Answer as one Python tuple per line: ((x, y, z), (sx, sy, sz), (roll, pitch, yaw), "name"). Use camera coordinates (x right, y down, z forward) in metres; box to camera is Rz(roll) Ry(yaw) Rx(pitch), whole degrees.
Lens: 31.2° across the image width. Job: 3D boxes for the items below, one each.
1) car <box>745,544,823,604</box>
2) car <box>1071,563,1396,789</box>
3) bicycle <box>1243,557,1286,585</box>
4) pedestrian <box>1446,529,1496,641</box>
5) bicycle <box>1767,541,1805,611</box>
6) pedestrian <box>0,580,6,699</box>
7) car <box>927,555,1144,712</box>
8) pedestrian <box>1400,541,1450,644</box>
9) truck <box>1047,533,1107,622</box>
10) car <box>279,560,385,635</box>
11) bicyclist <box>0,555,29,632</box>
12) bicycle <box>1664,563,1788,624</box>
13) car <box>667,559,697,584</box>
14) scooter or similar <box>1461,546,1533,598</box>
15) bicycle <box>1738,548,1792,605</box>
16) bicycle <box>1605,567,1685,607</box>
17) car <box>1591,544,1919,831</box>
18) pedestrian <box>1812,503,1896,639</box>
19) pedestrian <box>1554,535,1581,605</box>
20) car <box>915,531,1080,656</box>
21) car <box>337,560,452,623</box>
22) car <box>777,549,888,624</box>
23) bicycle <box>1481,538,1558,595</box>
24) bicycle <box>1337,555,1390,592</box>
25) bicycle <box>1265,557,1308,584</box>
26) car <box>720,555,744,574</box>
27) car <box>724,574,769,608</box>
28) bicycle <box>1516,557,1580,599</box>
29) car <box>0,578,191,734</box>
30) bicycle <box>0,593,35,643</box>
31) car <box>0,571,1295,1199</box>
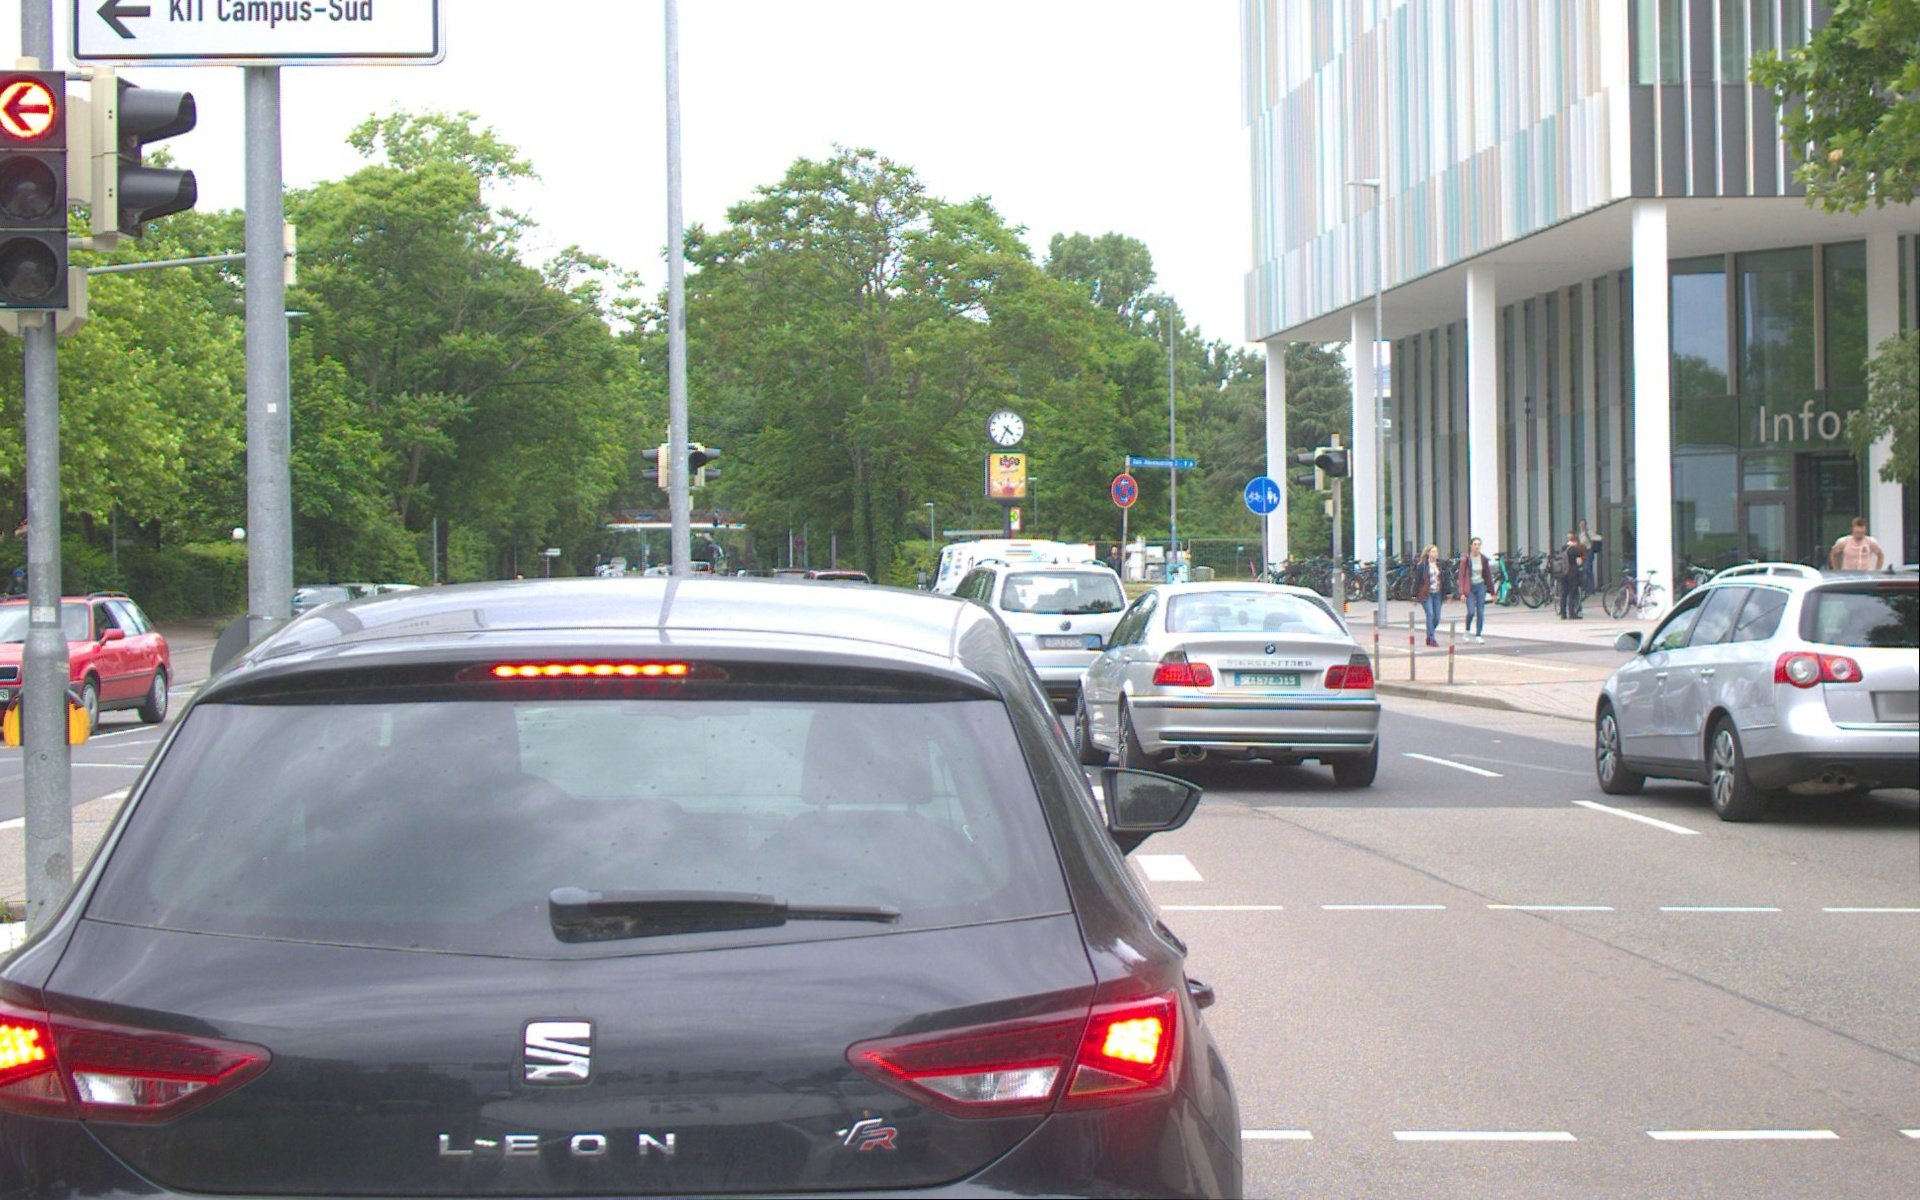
((-5.293, -0.797, 103.168), (1.914, 1.658, 4.115), (-3, 1, -8), "car")
((1.858, 0.476, 24.567), (1.722, 1.409, 4.246), (0, 1, -4), "car")
((9.643, -0.909, 108.946), (1.258, 0.845, 0.482), (2, 0, -22), "bicycle")
((8.203, -0.246, 55.215), (0.687, 1.775, 0.677), (-1, 1, -1), "pedestrian")
((15.474, -0.458, 64.392), (0.526, 1.248, 1.664), (-2, 1, 18), "bicycle")
((-13.259, 0.542, 45.896), (0.874, 1.580, 0.544), (-2, 1, -7), "pedestrian")
((0.763, 0.316, 37.507), (1.729, 1.597, 4.107), (0, 1, -8), "car")
((7.457, -0.130, 55.155), (0.687, 1.634, 0.633), (0, 1, -1), "pedestrian")
((3.070, -0.604, 90.539), (1.317, 2.235, 3.402), (-2, 1, -1), "truck")
((-15.717, -0.073, 86.258), (1.906, 1.711, 4.000), (-2, 1, -1), "car")
((-20.235, -0.134, 73.540), (0.491, 1.619, 0.588), (1, 2, 0), "bicyclist")
((12.521, -0.114, 56.198), (1.886, 0.895, 0.697), (-3, 1, -21), "bicycle")
((-18.013, -1.857, 222.520), (1.695, 1.498, 4.011), (-2, 1, -7), "car")
((12.237, -0.639, 78.309), (1.671, 1.103, 0.499), (-3, 1, -32), "scooter or similar")
((15.740, -0.472, 67.185), (0.620, 1.042, 1.703), (-2, 1, 26), "bicycle")
((13.881, -0.269, 69.678), (1.479, 0.746, 0.566), (-2, 1, -4), "bicycle")
((5.130, 0.493, 20.961), (1.825, 1.545, 4.527), (1, 0, 2), "car")
((11.870, -0.386, 45.649), (0.847, 1.759, 0.768), (-2, 1, -1), "pedestrian")
((12.148, -0.602, 68.724), (0.472, 1.357, 0.445), (-2, 1, 10), "pedestrian")
((0.574, -0.141, 57.112), (1.966, 1.965, 4.345), (1, 1, -10), "car")
((-15.806, -0.250, 96.276), (1.759, 1.582, 3.998), (-2, 1, 12), "car")
((-2.958, -0.333, 79.154), (1.948, 1.618, 3.750), (0, 2, -12), "car")
((12.652, -0.758, 77.730), (1.772, 1.207, 0.570), (-3, 2, -34), "bicycle")
((10.782, -0.719, 91.857), (1.387, 0.938, 0.487), (-1, 1, 7), "bicycle")
((10.136, -0.916, 106.861), (1.234, 0.820, 0.482), (1, 0, -22), "bicycle")
((-15.092, -2.342, 227.324), (1.505, 1.189, 3.163), (-2, 1, -4), "car")
((-9.540, -0.423, 153.336), (1.898, 1.349, 3.883), (-2, 1, -4), "car")
((13.012, -0.490, 76.026), (1.438, 0.855, 0.365), (-3, 1, -27), "bicycle")
((-9.416, 0.546, 35.596), (1.714, 1.413, 4.294), (-2, 1, 3), "car")
((-20.244, 0.378, 73.564), (0.488, 1.002, 1.590), (1, 2, -1), "bicycle")
((-0.448, 0.694, 5.759), (1.753, 1.427, 3.769), (0, 1, 2), "car")
